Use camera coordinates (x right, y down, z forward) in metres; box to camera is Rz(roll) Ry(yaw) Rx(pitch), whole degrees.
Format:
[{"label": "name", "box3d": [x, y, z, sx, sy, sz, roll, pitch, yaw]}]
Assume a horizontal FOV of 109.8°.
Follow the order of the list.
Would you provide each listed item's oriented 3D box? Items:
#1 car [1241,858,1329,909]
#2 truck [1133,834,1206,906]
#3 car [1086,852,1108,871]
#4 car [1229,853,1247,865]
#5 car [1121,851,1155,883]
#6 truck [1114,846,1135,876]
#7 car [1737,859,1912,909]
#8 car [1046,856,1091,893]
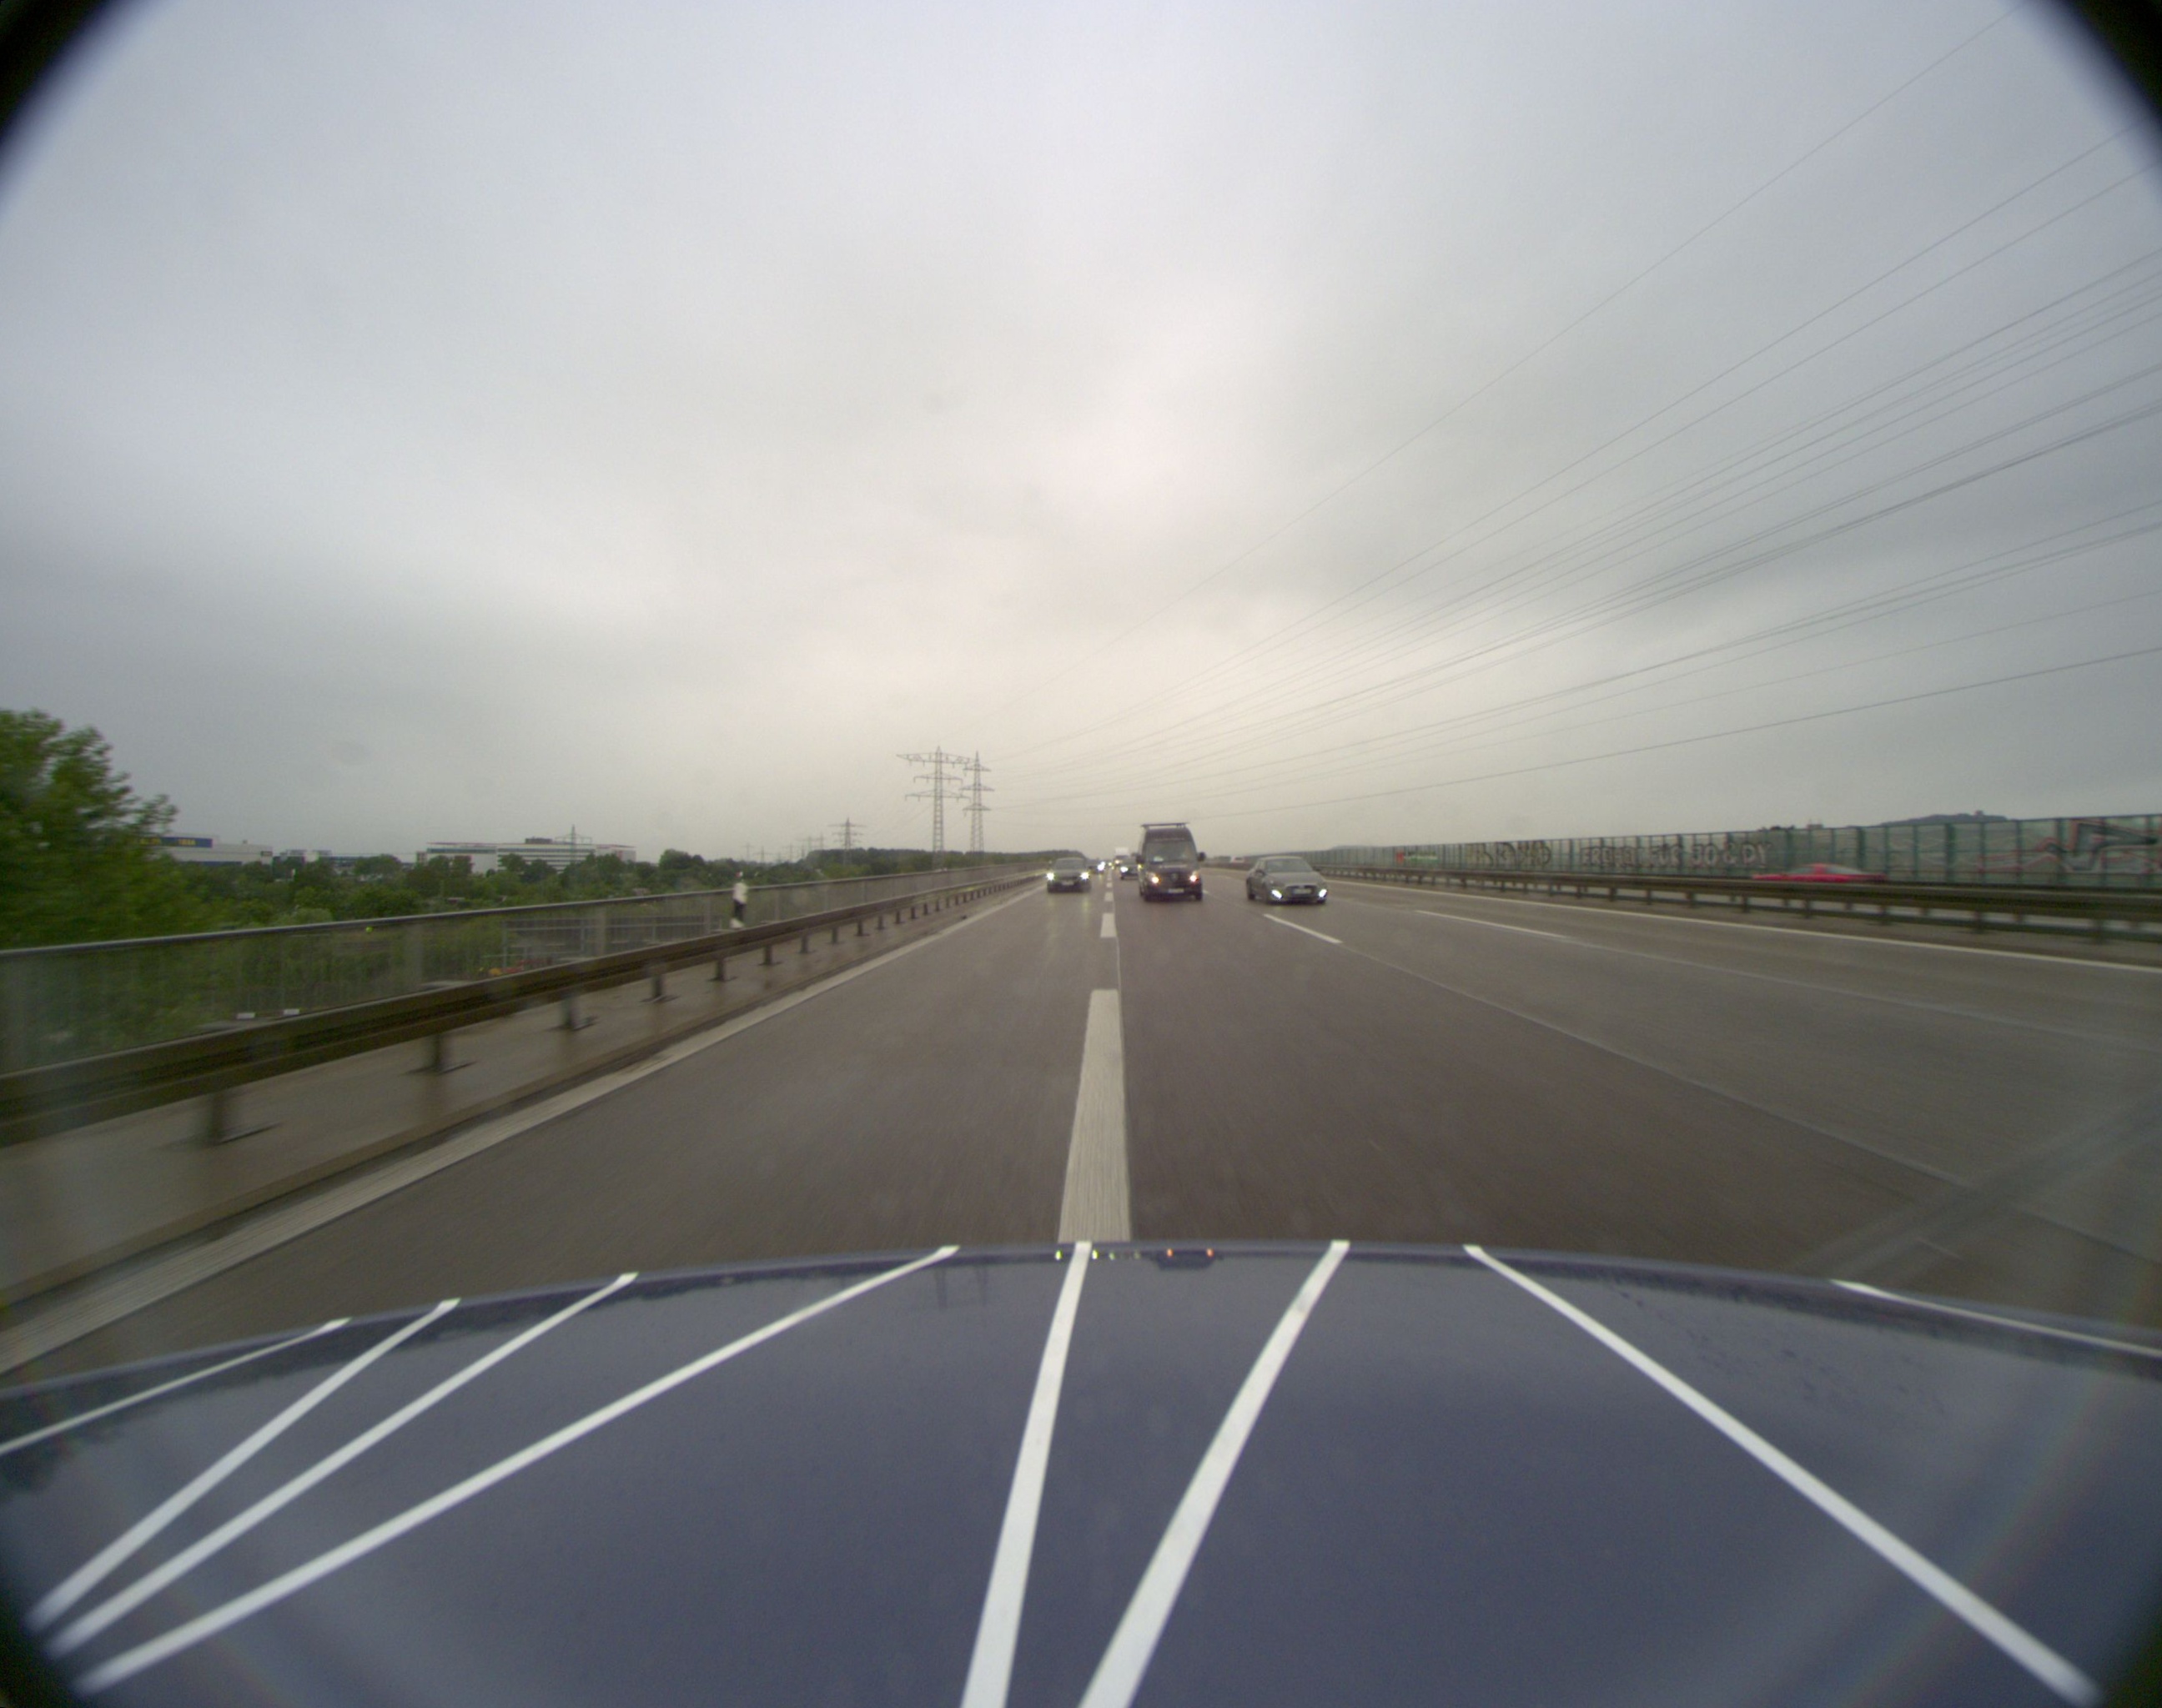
[{"label": "car", "box3d": [6.326, 0.882, 24.117, 1.729, 1.394, 4.831, -2, -1, 4]}, {"label": "truck", "box3d": [3.098, 0.469, 27.867, 1.998, 2.324, 6.110, -1, 1, 0]}, {"label": "car", "box3d": [1.567, 0.710, 72.396, 1.998, 1.706, 4.000, 1, 1, 2]}, {"label": "car", "box3d": [26.896, 0.811, 130.110, 1.998, 2.002, 5.011, -2, 1, 1]}, {"label": "car", "box3d": [3.829, 0.849, 51.657, 1.998, 2.002, 4.785, -2, 0, 1]}, {"label": "truck", "box3d": [6.520, 1.108, 114.409, 2.703, 4.171, 8.926, -2, -1, 1]}, {"label": "car", "box3d": [29.268, 1.107, 30.195, 1.998, 1.773, 5.107, -1, 0, 1]}, {"label": "car", "box3d": [-0.506, 0.910, 34.913, 1.862, 1.531, 4.203, -2, 0, 1]}]
